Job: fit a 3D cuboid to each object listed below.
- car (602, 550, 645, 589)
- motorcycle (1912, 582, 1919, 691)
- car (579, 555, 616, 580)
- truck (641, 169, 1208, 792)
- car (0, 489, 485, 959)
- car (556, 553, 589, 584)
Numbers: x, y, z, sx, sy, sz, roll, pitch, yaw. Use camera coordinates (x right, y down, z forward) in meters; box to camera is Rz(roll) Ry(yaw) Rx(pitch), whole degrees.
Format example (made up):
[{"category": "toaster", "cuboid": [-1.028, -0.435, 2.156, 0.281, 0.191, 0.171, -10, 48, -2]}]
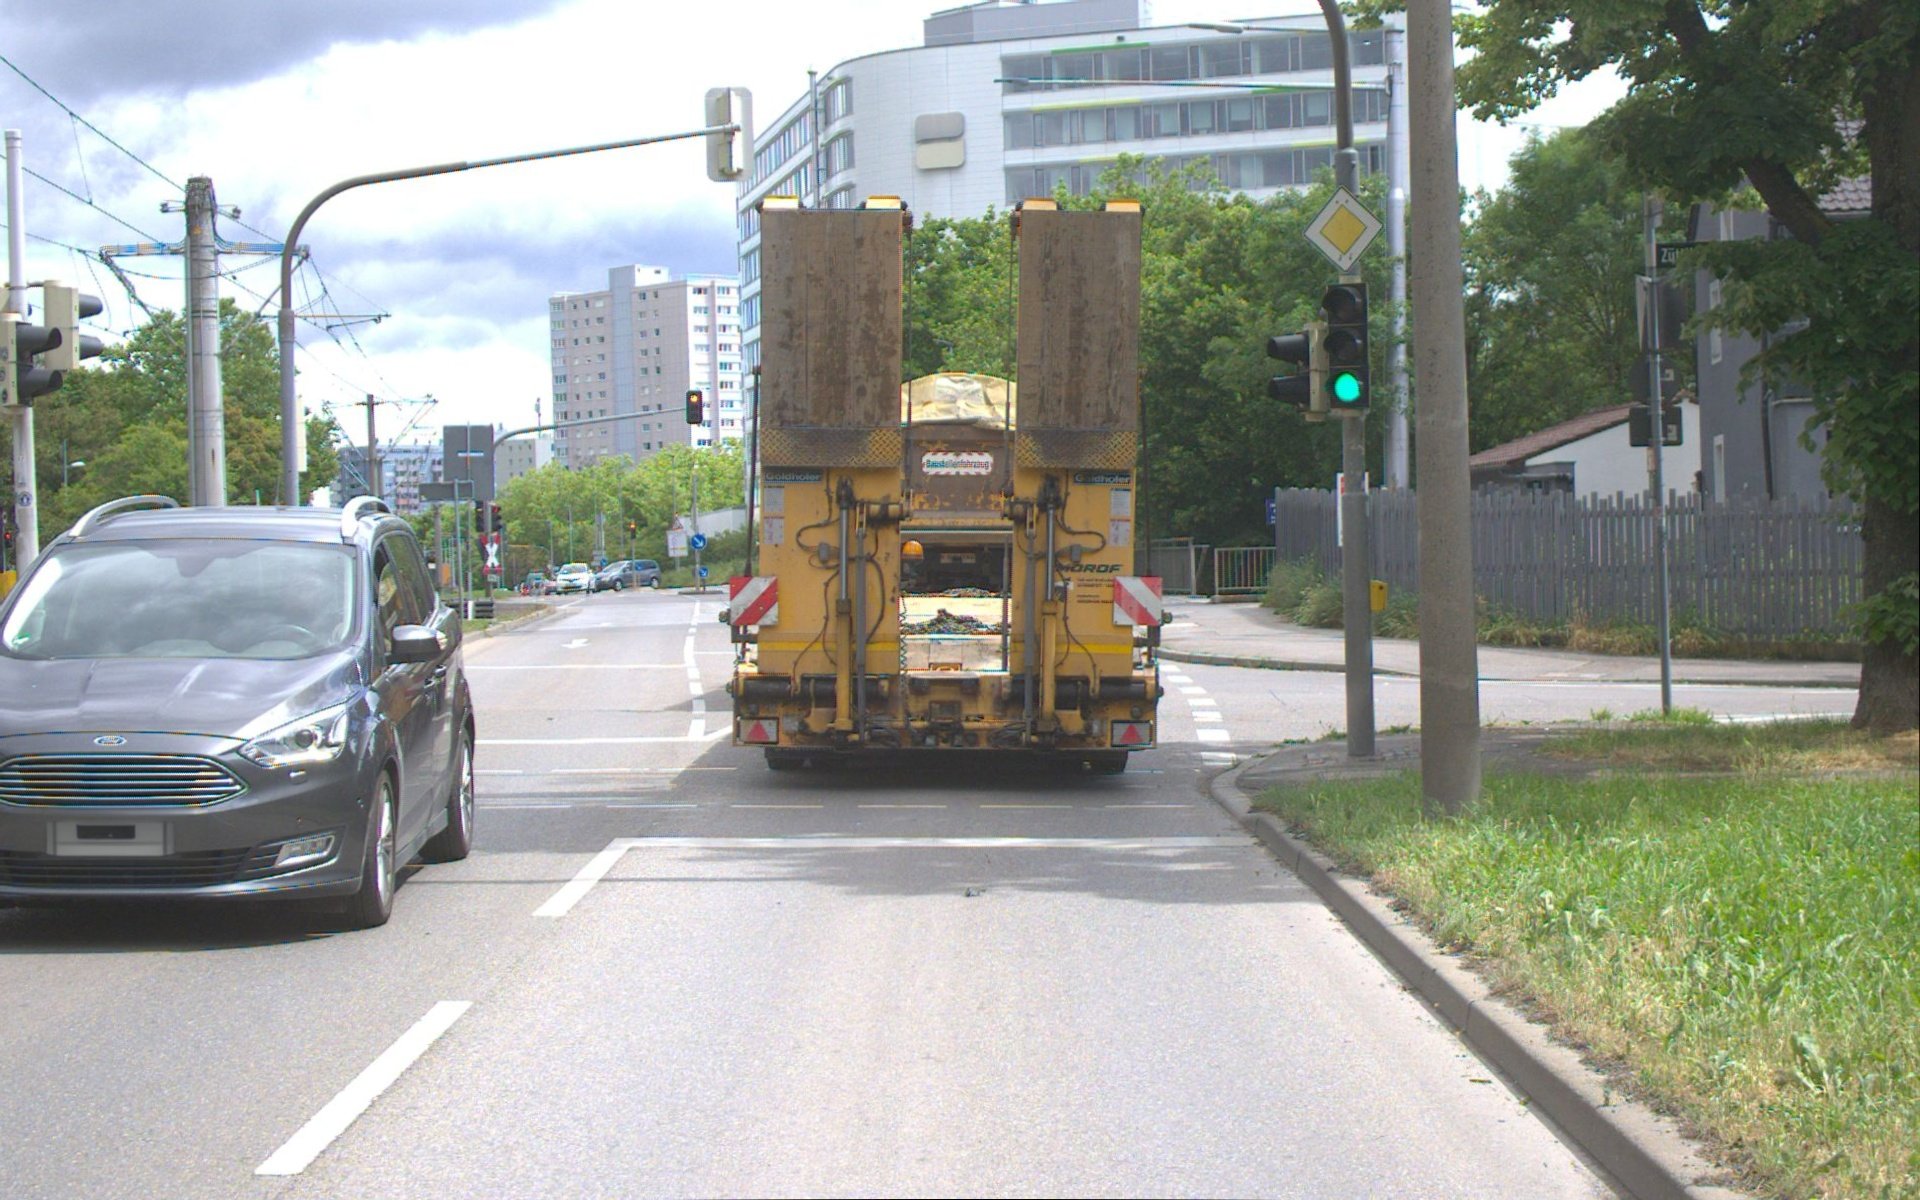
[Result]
[{"category": "car", "cuboid": [-16.720, -1.502, 170.721, 1.993, 1.919, 4.001, 0, 0, -7]}, {"category": "motorcycle", "cuboid": [10.701, 0.376, 37.197, 0.659, 1.145, 2.422, 0, 0, 18]}, {"category": "car", "cuboid": [-20.427, -1.824, 193.557, 1.993, 1.415, 4.001, 0, 0, -7]}, {"category": "truck", "cuboid": [-0.404, -0.748, 26.404, 3.316, 3.638, 12.563, 0, 0, -2]}, {"category": "car", "cuboid": [-3.065, 0.407, 14.367, 1.707, 1.670, 4.228, 0, 1, -2]}, {"category": "car", "cuboid": [-19.635, -1.587, 174.251, 1.593, 1.521, 3.656, -2, 0, -5]}]
